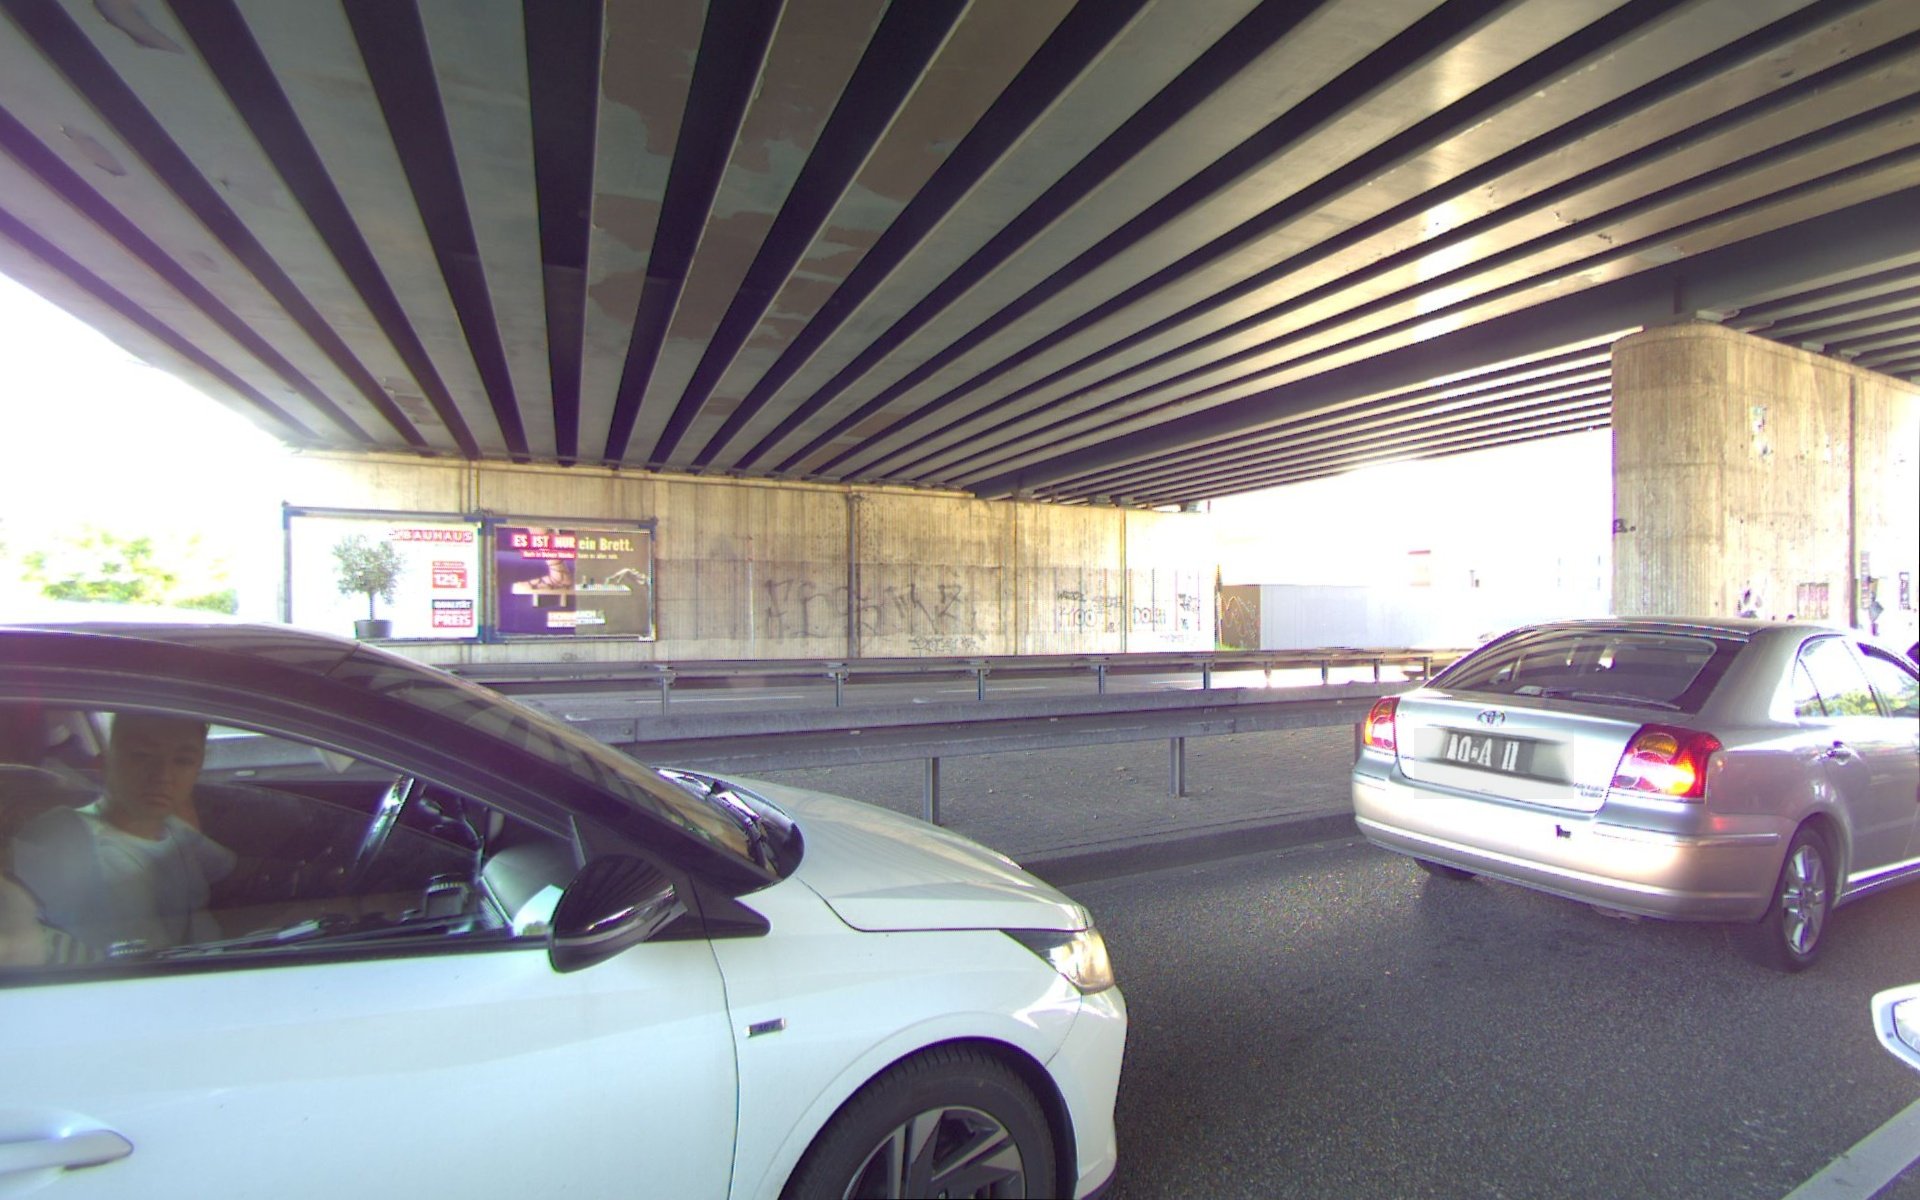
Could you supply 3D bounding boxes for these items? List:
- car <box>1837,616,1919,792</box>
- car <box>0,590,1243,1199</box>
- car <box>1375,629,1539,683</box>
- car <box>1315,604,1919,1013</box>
[{"bbox_3d":[9.630,0.895,8.914,3.769,1.429,1.684,1,0,-31],"label":"car"},{"bbox_3d":[-1.415,0.718,2.002,3.831,1.422,1.722,2,0,-34],"label":"car"},{"bbox_3d":[11.810,1.289,23.831,3.955,1.191,1.675,1,-2,-32],"label":"car"},{"bbox_3d":[4.112,0.806,5.531,4.347,1.474,1.688,1,0,-31],"label":"car"}]
